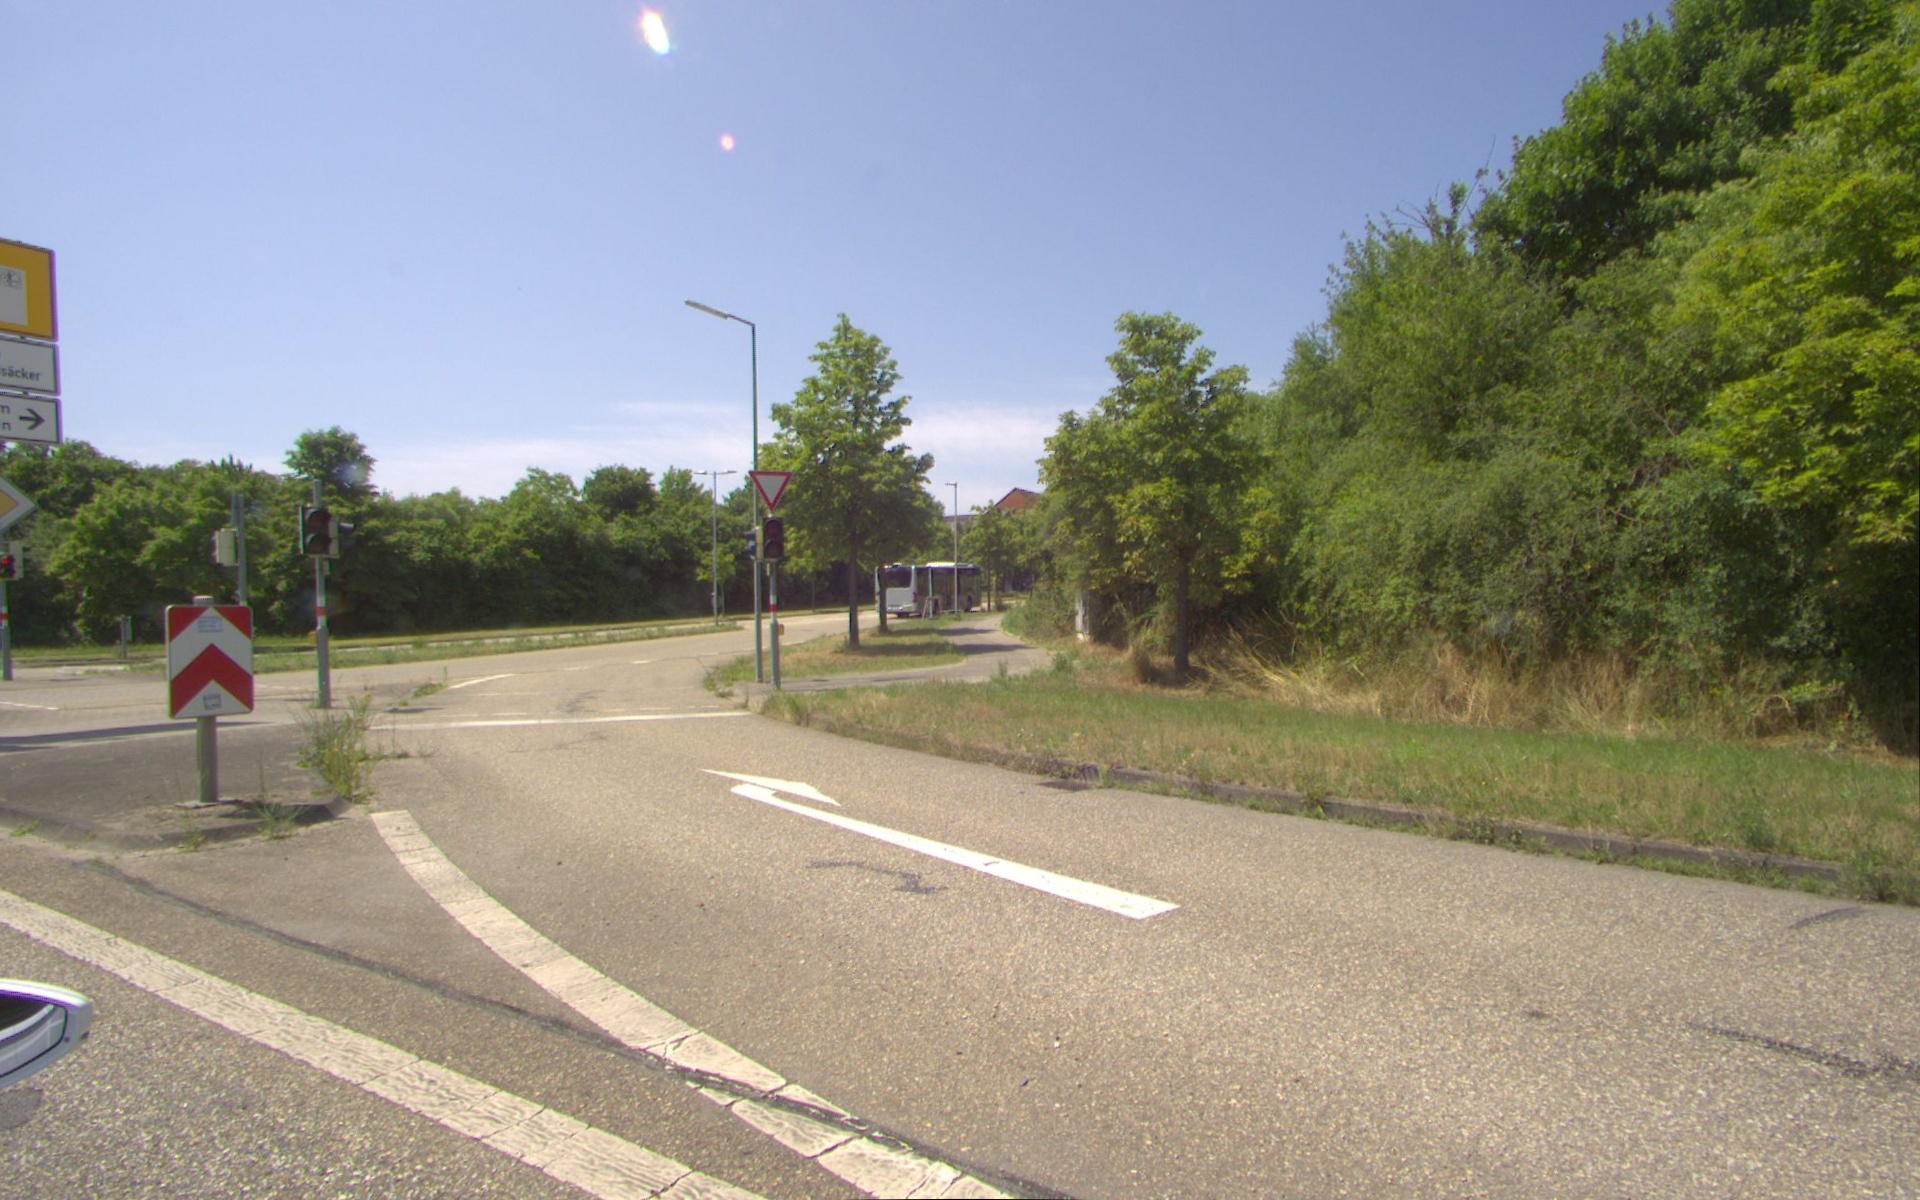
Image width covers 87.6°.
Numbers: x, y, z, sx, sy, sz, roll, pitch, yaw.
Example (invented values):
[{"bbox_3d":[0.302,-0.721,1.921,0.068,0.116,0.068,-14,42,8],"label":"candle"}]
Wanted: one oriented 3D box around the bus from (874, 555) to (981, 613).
[{"bbox_3d":[-1.693,-0.864,60.421,2.584,3.127,12.060,0,0,18],"label":"bus"}]
